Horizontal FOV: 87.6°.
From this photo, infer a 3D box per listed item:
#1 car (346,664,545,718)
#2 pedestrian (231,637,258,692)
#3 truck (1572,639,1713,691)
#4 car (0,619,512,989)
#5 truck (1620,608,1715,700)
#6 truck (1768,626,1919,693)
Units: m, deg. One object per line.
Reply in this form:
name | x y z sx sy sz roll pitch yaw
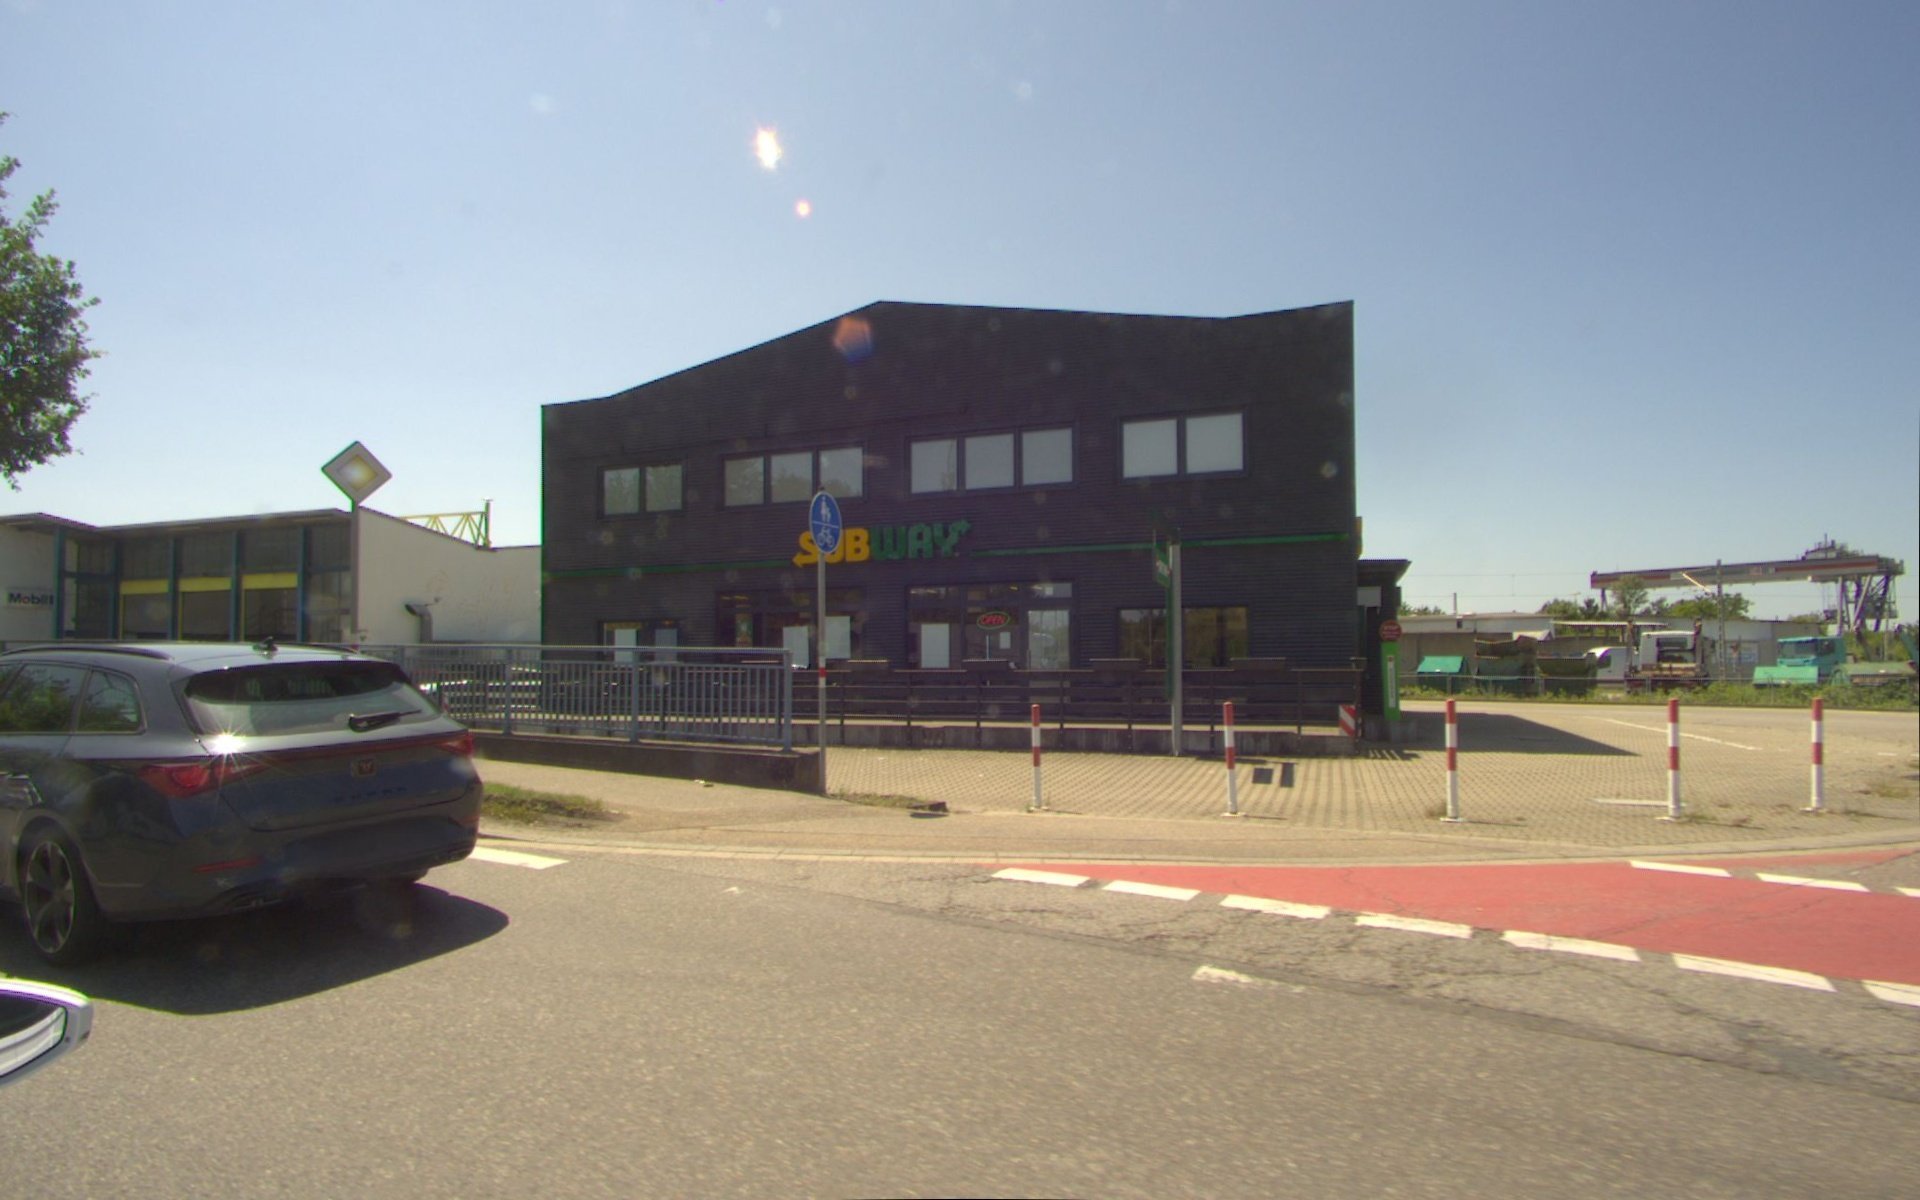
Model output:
car | -14.980 2.605 29.313 5.011 1.375 1.990 1 -3 -30
pedestrian | -22.677 2.030 31.743 0.480 1.724 0.522 -1 -2 22
truck | 38.228 3.631 56.221 5.991 2.825 2.653 0 -2 2
car | -4.663 0.891 5.661 4.168 1.474 1.605 -1 -2 26
truck | 29.169 2.206 41.133 2.689 3.423 7.351 -1 -3 39
truck | 47.534 3.129 52.919 7.410 3.411 2.805 0 -2 -2
